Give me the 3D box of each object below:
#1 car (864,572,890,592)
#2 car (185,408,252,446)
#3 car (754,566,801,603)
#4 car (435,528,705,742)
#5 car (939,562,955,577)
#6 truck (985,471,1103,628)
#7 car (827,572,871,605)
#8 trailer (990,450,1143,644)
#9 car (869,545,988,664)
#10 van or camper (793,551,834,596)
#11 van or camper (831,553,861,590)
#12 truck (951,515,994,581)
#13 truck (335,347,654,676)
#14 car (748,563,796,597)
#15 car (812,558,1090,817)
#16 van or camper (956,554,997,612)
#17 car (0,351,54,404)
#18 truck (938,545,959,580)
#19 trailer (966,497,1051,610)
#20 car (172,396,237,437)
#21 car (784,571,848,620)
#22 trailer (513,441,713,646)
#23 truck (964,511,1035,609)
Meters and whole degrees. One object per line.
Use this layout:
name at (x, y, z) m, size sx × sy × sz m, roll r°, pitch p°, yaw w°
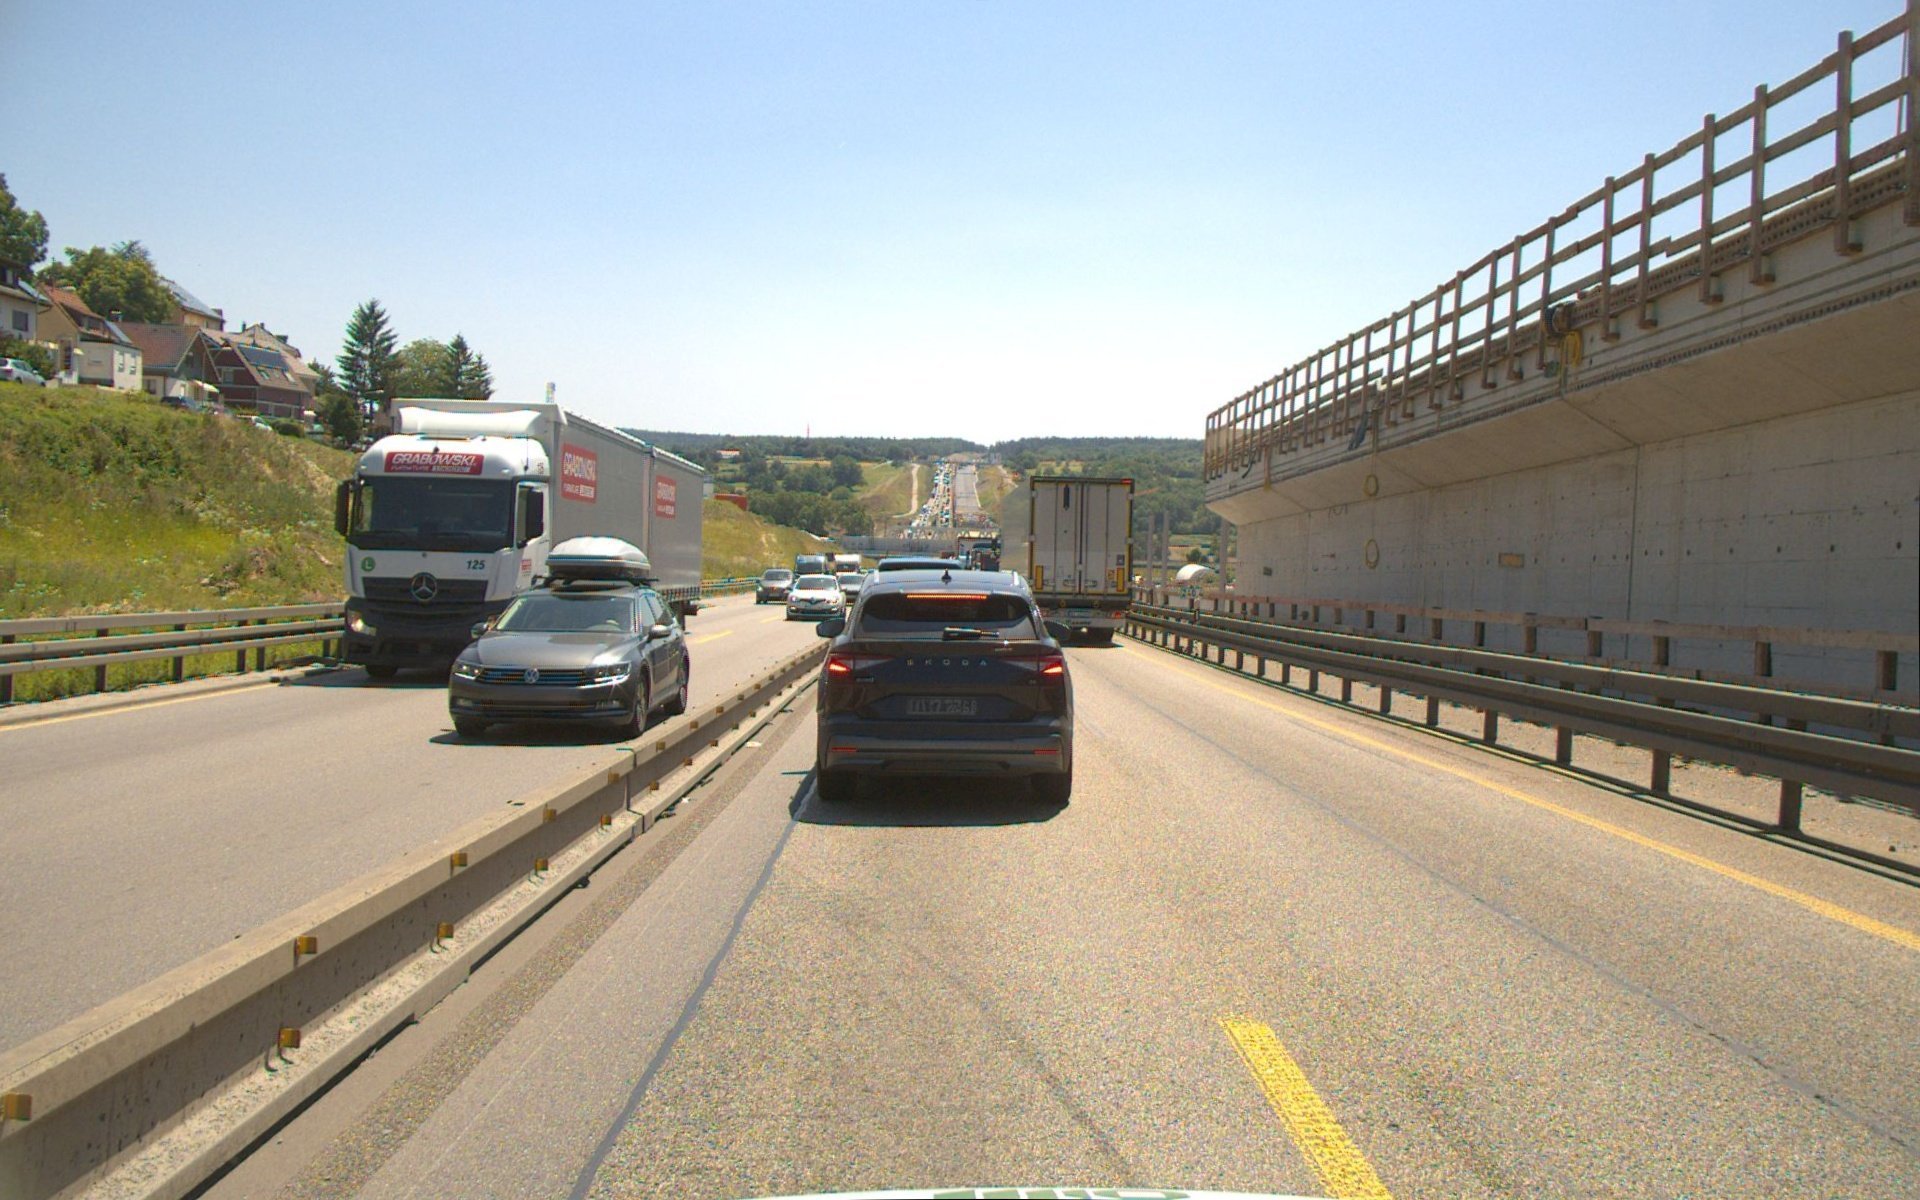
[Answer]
car at (-6.360, -1.397, 127.353) m, size 1.805 × 1.501 × 4.834 m, roll 1°, pitch 1°, yaw -1°
car at (-46.670, -10.895, 104.222) m, size 2.301 × 1.825 × 4.797 m, roll 1°, pitch 0°, yaw -4°
car at (-8.454, -0.749, 77.046) m, size 1.737 × 1.609 × 4.285 m, roll 2°, pitch 1°, yaw -1°
car at (-3.908, 0.293, 17.375) m, size 1.812 × 1.923 × 4.500 m, roll 1°, pitch 1°, yaw -1°
car at (-1.483, -3.477, 186.807) m, size 1.776 × 1.629 × 4.573 m, roll 1°, pitch 1°, yaw -1°
truck at (2.554, -1.586, 52.932) m, size 3.116 × 4.591 × 8.165 m, roll 1°, pitch 1°, yaw -1°
car at (-5.110, -0.555, 76.613) m, size 1.792 × 1.458 × 4.628 m, roll 0°, pitch 1°, yaw -1°
trailer at (2.690, -1.427, 46.393) m, size 3.116 × 4.591 × 13.107 m, roll 1°, pitch 1°, yaw -1°
car at (-0.582, 0.085, 30.072) m, size 1.953 × 1.959 × 4.506 m, roll 1°, pitch 0°, yaw -1°
van or camper at (-9.088, -1.649, 103.054) m, size 2.096 × 2.618 × 6.563 m, roll 1°, pitch 1°, yaw -1°
van or camper at (-10.032, -2.536, 146.332) m, size 2.245 × 3.120 × 6.923 m, roll 1°, pitch 1°, yaw -1°
truck at (0.856, -3.833, 124.867) m, size 2.794 × 4.543 × 11.913 m, roll 1°, pitch 0°, yaw -2°
truck at (-7.367, -1.254, 27.962) m, size 2.568 × 4.473 × 10.383 m, roll 1°, pitch 0°, yaw -1°
car at (-8.694, -0.892, 76.809) m, size 1.954 × 1.500 × 3.997 m, roll 1°, pitch 0°, yaw -3°
car at (-0.073, 0.550, 12.662) m, size 1.765 × 1.635 × 4.000 m, roll 1°, pitch 0°, yaw -1°
van or camper at (0.994, -0.981, 98.951) m, size 2.339 × 3.338 × 6.469 m, roll 1°, pitch 0°, yaw 1°
car at (-42.419, -9.941, 74.031) m, size 1.956 × 1.825 × 3.993 m, roll 1°, pitch 0°, yaw -8°
truck at (-1.534, -4.844, 216.656) m, size 2.586 × 4.267 × 9.282 m, roll 1°, pitch 0°, yaw -1°
trailer at (2.031, -1.900, 75.706) m, size 3.116 × 4.592 × 14.963 m, roll 1°, pitch 0°, yaw -1°
car at (-44.769, -10.875, 98.115) m, size 2.137 × 1.825 × 4.755 m, roll 1°, pitch 0°, yaw -8°
car at (-4.620, -0.166, 53.506) m, size 1.766 × 1.489 × 3.999 m, roll 1°, pitch 1°, yaw -1°
trailer at (-7.616, -1.169, 37.531) m, size 2.870 × 4.058 × 8.703 m, roll 1°, pitch 0°, yaw -2°
truck at (1.871, -1.883, 82.787) m, size 3.116 × 4.592 × 8.163 m, roll 1°, pitch 0°, yaw -1°
